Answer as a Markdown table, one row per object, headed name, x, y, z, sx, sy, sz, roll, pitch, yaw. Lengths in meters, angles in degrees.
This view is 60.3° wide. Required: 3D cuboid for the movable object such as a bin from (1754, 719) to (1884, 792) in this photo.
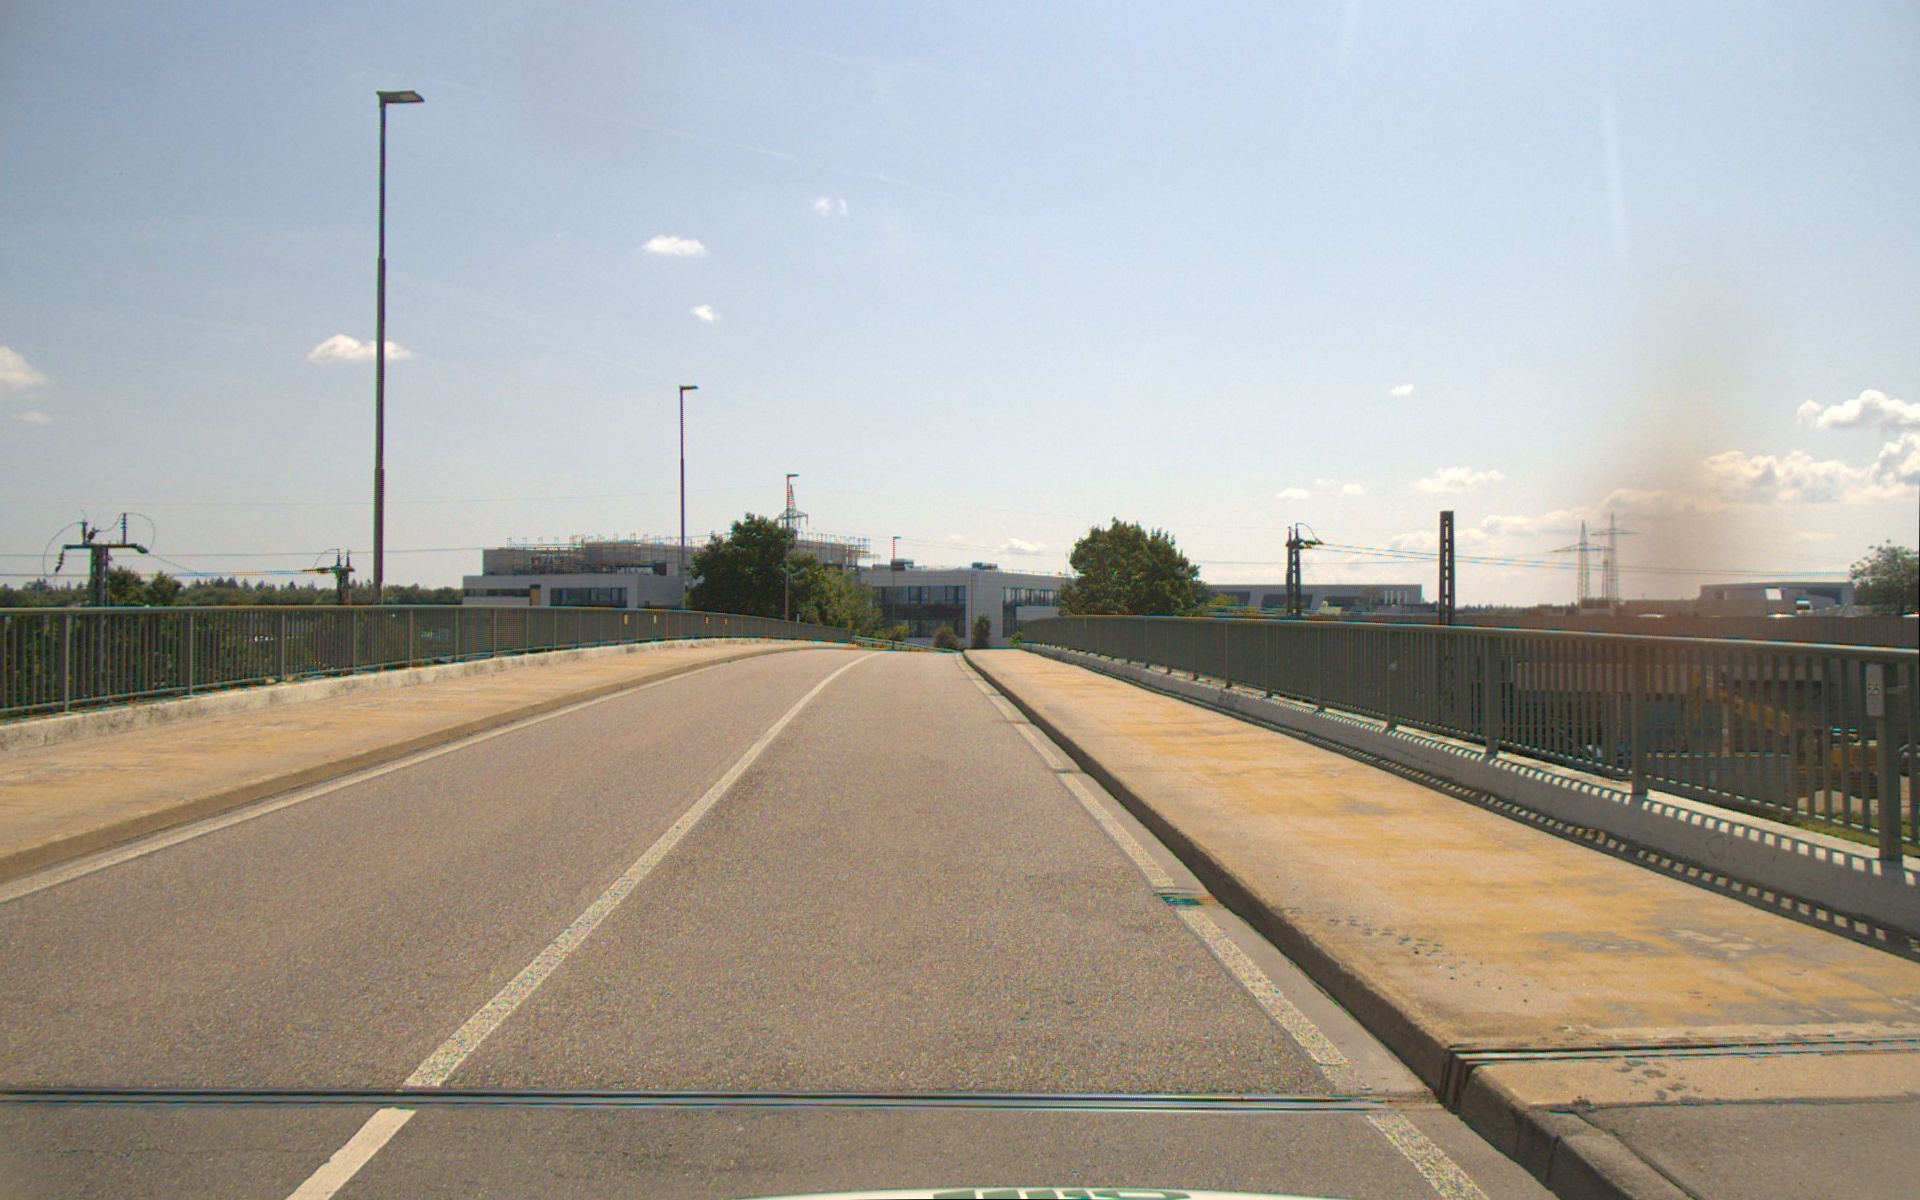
| name | x | y | z | sx | sy | sz | roll | pitch | yaw |
| --- | --- | --- | --- | --- | --- | --- | --- | --- | --- |
| movable object such as a bin | 46.186 | 8.309 | 89.119 | 6.082 | 3.347 | 3.245 | 0 | 0 | 27 |
